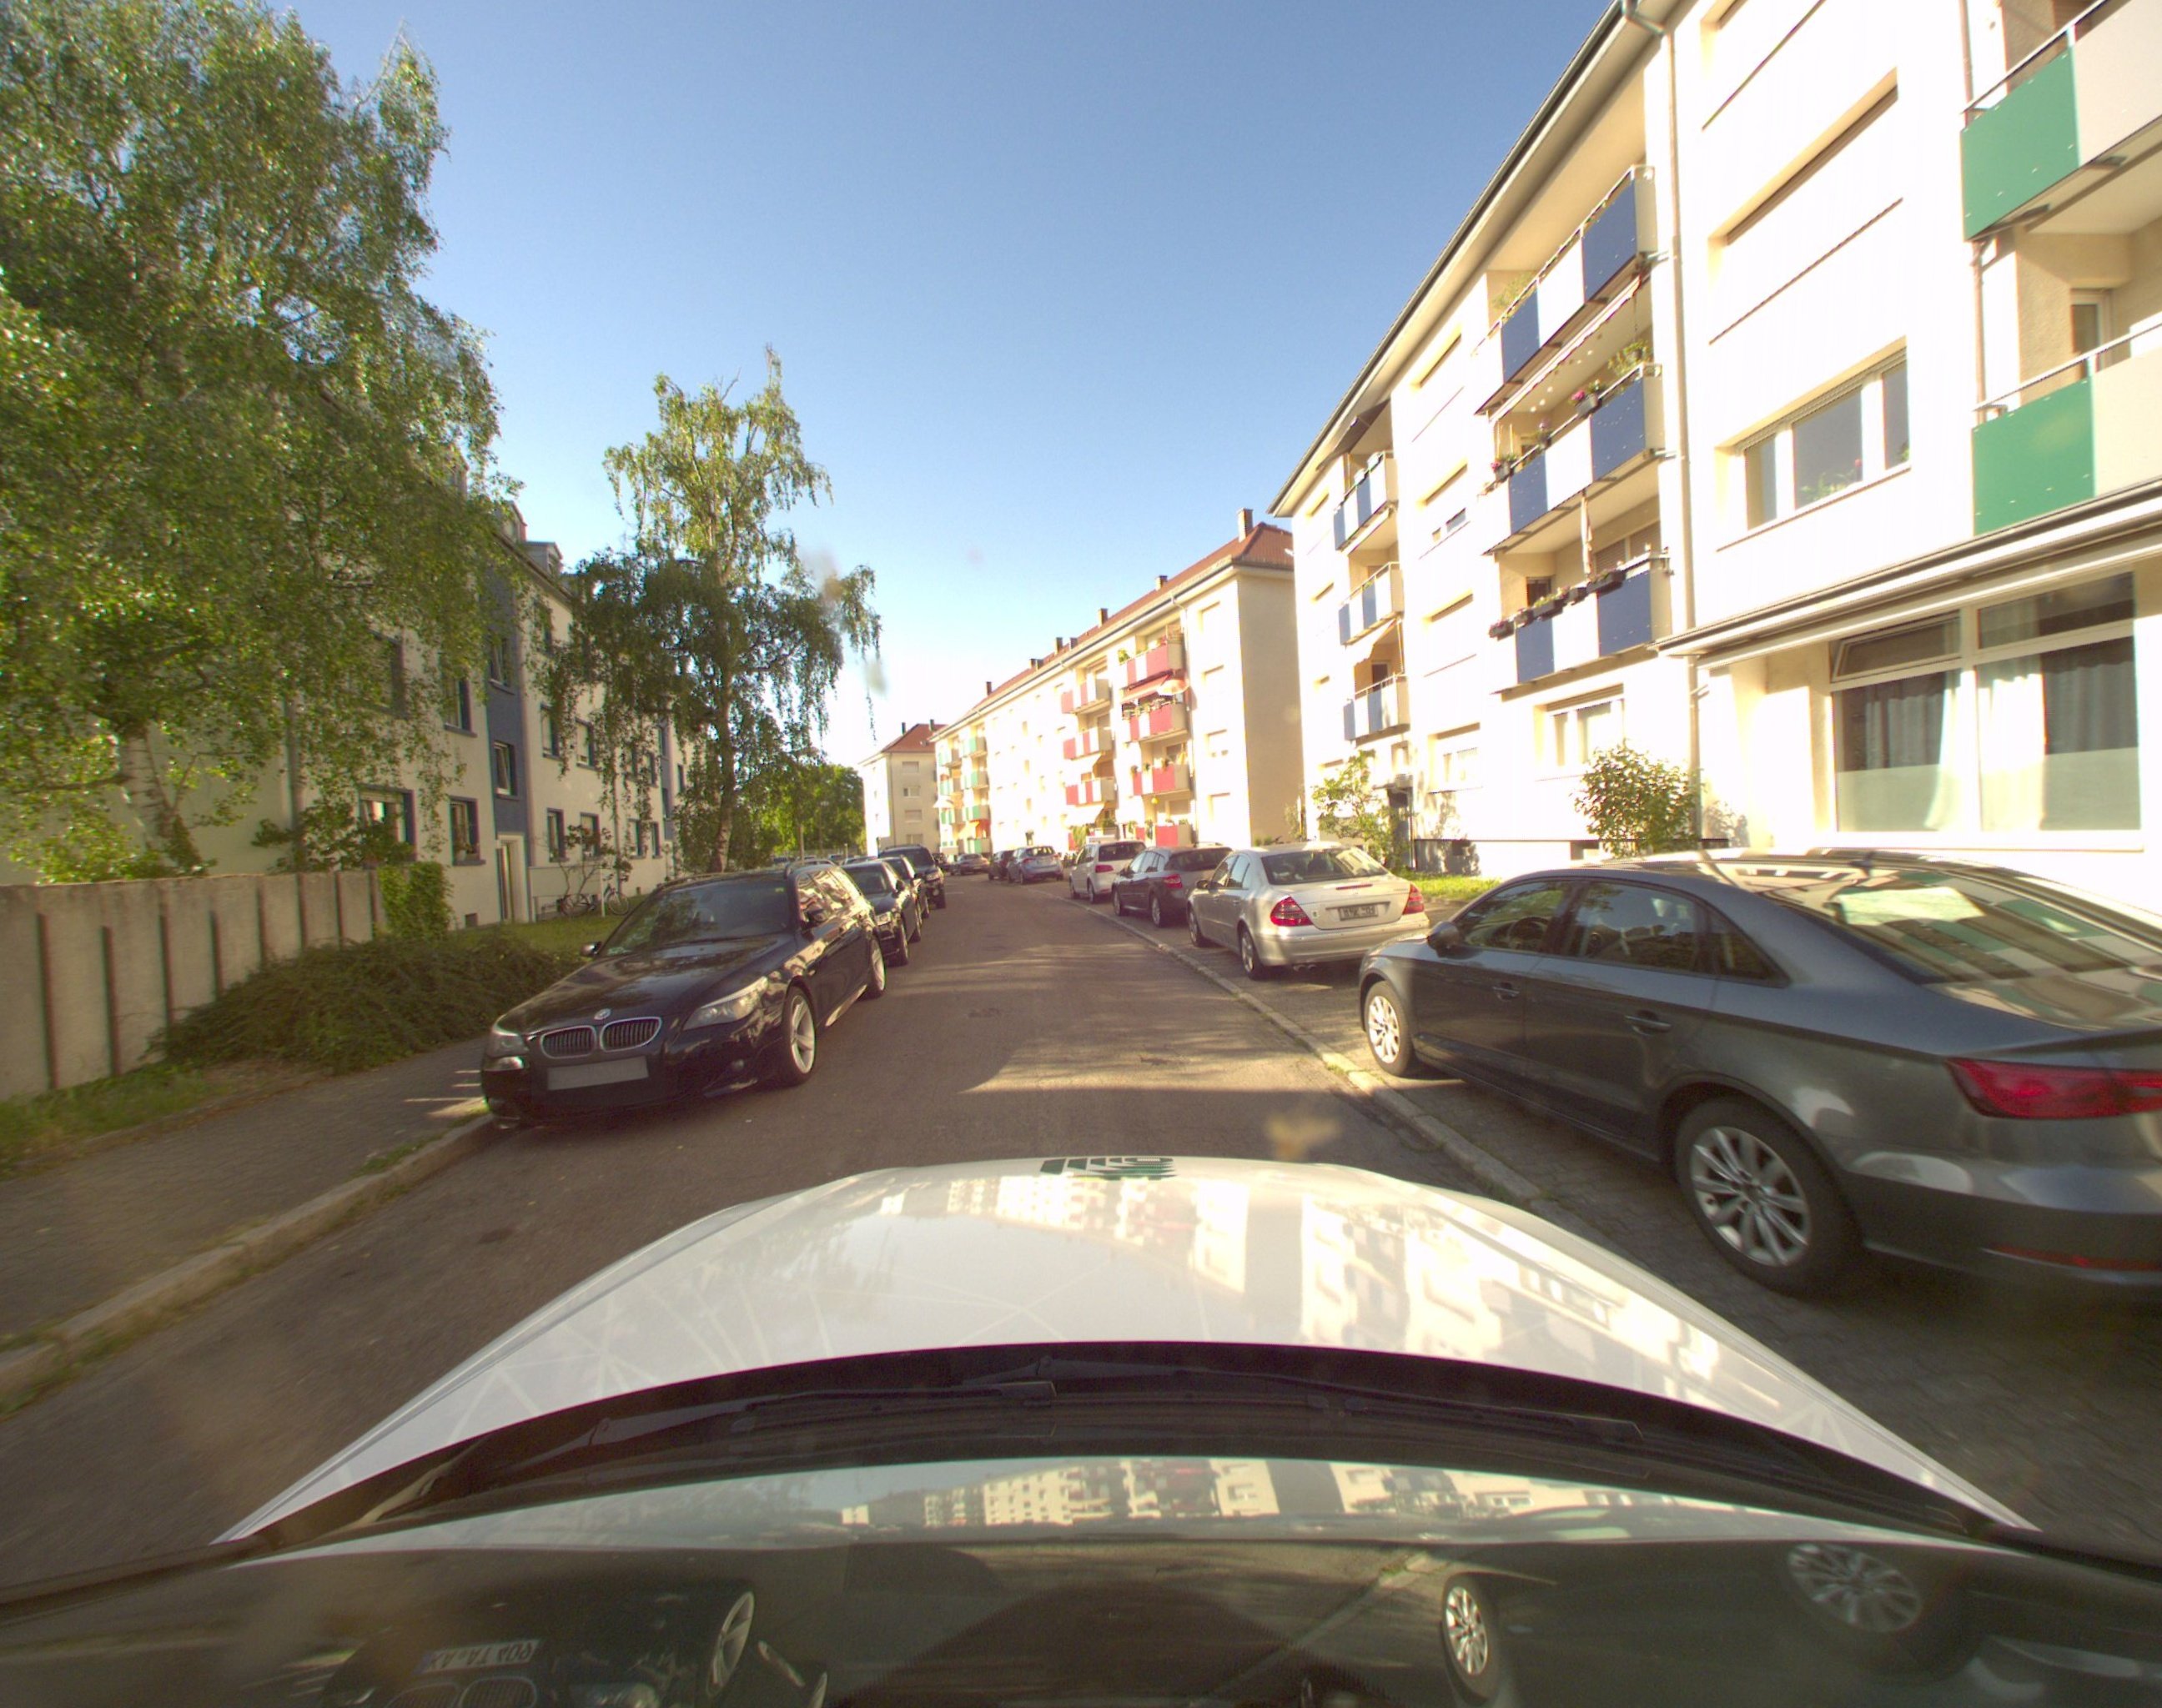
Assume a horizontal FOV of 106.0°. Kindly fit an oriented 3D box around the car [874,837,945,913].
[{"bbox_3d":[-4.640,0.520,22.320,1.556,1.714,4.321,-7,1,-11],"label":"car"}]

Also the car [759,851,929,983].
[{"bbox_3d":[-3.355,0.767,12.337,1.677,1.442,4.269,-7,1,-7],"label":"car"}]

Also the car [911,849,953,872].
[{"bbox_3d":[-10.754,0.476,58.617,1.747,1.431,4.319,-6,2,-26],"label":"car"}]

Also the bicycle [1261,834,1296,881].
[{"bbox_3d":[5.457,0.073,22.555,0.512,1.202,1.763,-5,1,3],"label":"bicycle"}]

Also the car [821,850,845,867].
[{"bbox_3d":[-27.678,0.516,90.823,1.776,1.739,4.057,-6,1,-28],"label":"car"}]

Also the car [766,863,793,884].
[{"bbox_3d":[-32.116,2.044,86.750,2.006,2.013,4.413,-6,1,-28],"label":"car"}]

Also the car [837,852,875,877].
[{"bbox_3d":[-15.174,0.706,54.863,1.751,1.431,4.563,-7,2,-23],"label":"car"}]

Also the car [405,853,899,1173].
[{"bbox_3d":[-2.802,0.847,6.688,1.675,1.452,4.615,-7,1,-3],"label":"car"}]

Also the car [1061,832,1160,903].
[{"bbox_3d":[0.704,0.340,22.989,1.695,1.655,4.373,-5,1,-11],"label":"car"}]

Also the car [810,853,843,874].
[{"bbox_3d":[-20.158,0.799,64.367,1.668,1.443,3.836,-6,1,-28],"label":"car"}]

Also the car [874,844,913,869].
[{"bbox_3d":[-15.558,0.207,67.300,1.908,1.855,4.302,-4,0,-29],"label":"car"}]

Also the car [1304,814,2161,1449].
[{"bbox_3d":[2.853,0.599,4.242,1.676,1.407,4.536,-4,1,-6],"label":"car"}]

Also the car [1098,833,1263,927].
[{"bbox_3d":[1.781,0.455,16.262,1.696,1.431,4.667,-6,1,-12],"label":"car"}]

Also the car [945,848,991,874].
[{"bbox_3d":[-7.003,0.443,50.093,1.693,1.363,4.208,-6,2,-22],"label":"car"}]

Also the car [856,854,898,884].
[{"bbox_3d":[-11.246,0.784,44.689,1.575,1.464,4.231,-6,2,-21],"label":"car"}]

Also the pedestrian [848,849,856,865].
[{"bbox_3d":[-26.102,0.315,92.770,0.656,1.815,0.610,-6,1,-18],"label":"pedestrian"}]

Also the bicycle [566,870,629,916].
[{"bbox_3d":[-13.749,1.096,23.182,1.412,1.152,0.413,-5,1,-17],"label":"bicycle"}]

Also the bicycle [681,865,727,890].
[{"bbox_3d":[-17.321,1.057,37.450,1.820,1.078,0.566,-1,0,-10],"label":"bicycle"}]

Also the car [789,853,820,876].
[{"bbox_3d":[-24.902,0.960,73.342,1.908,1.855,4.156,-4,0,-28],"label":"car"}]

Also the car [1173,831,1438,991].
[{"bbox_3d":[2.482,0.522,10.329,1.675,1.447,4.717,-4,1,-4],"label":"car"}]

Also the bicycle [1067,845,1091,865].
[{"bbox_3d":[-0.134,0.051,44.534,0.620,0.978,1.883,-7,4,-20],"label":"bicycle"}]

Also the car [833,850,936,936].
[{"bbox_3d":[-4.075,0.722,17.425,1.554,1.442,3.958,-7,1,-7],"label":"car"}]

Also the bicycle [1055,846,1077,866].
[{"bbox_3d":[-0.840,0.111,44.289,0.499,1.019,1.829,-6,1,-21],"label":"bicycle"}]

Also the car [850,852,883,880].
[{"bbox_3d":[-13.168,0.744,49.849,1.484,1.476,3.606,-8,2,-20],"label":"car"}]

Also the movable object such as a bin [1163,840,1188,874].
[{"bbox_3d":[3.068,0.099,26.438,0.583,1.056,0.639,-7,0,-7],"label":"movable object such as a bin"}]

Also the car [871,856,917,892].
[{"bbox_3d":[-8.874,0.882,38.422,1.699,1.389,4.132,-5,3,-18],"label":"car"}]

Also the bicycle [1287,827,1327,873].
[{"bbox_3d":[6.366,-0.136,23.028,0.513,1.202,1.833,-5,1,-1],"label":"bicycle"}]

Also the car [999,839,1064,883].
[{"bbox_3d":[-2.203,0.258,35.275,1.771,1.635,4.017,-6,3,-18],"label":"car"}]

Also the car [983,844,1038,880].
[{"bbox_3d":[-3.529,0.379,40.036,1.740,1.508,3.862,-7,2,-18],"label":"car"}]
